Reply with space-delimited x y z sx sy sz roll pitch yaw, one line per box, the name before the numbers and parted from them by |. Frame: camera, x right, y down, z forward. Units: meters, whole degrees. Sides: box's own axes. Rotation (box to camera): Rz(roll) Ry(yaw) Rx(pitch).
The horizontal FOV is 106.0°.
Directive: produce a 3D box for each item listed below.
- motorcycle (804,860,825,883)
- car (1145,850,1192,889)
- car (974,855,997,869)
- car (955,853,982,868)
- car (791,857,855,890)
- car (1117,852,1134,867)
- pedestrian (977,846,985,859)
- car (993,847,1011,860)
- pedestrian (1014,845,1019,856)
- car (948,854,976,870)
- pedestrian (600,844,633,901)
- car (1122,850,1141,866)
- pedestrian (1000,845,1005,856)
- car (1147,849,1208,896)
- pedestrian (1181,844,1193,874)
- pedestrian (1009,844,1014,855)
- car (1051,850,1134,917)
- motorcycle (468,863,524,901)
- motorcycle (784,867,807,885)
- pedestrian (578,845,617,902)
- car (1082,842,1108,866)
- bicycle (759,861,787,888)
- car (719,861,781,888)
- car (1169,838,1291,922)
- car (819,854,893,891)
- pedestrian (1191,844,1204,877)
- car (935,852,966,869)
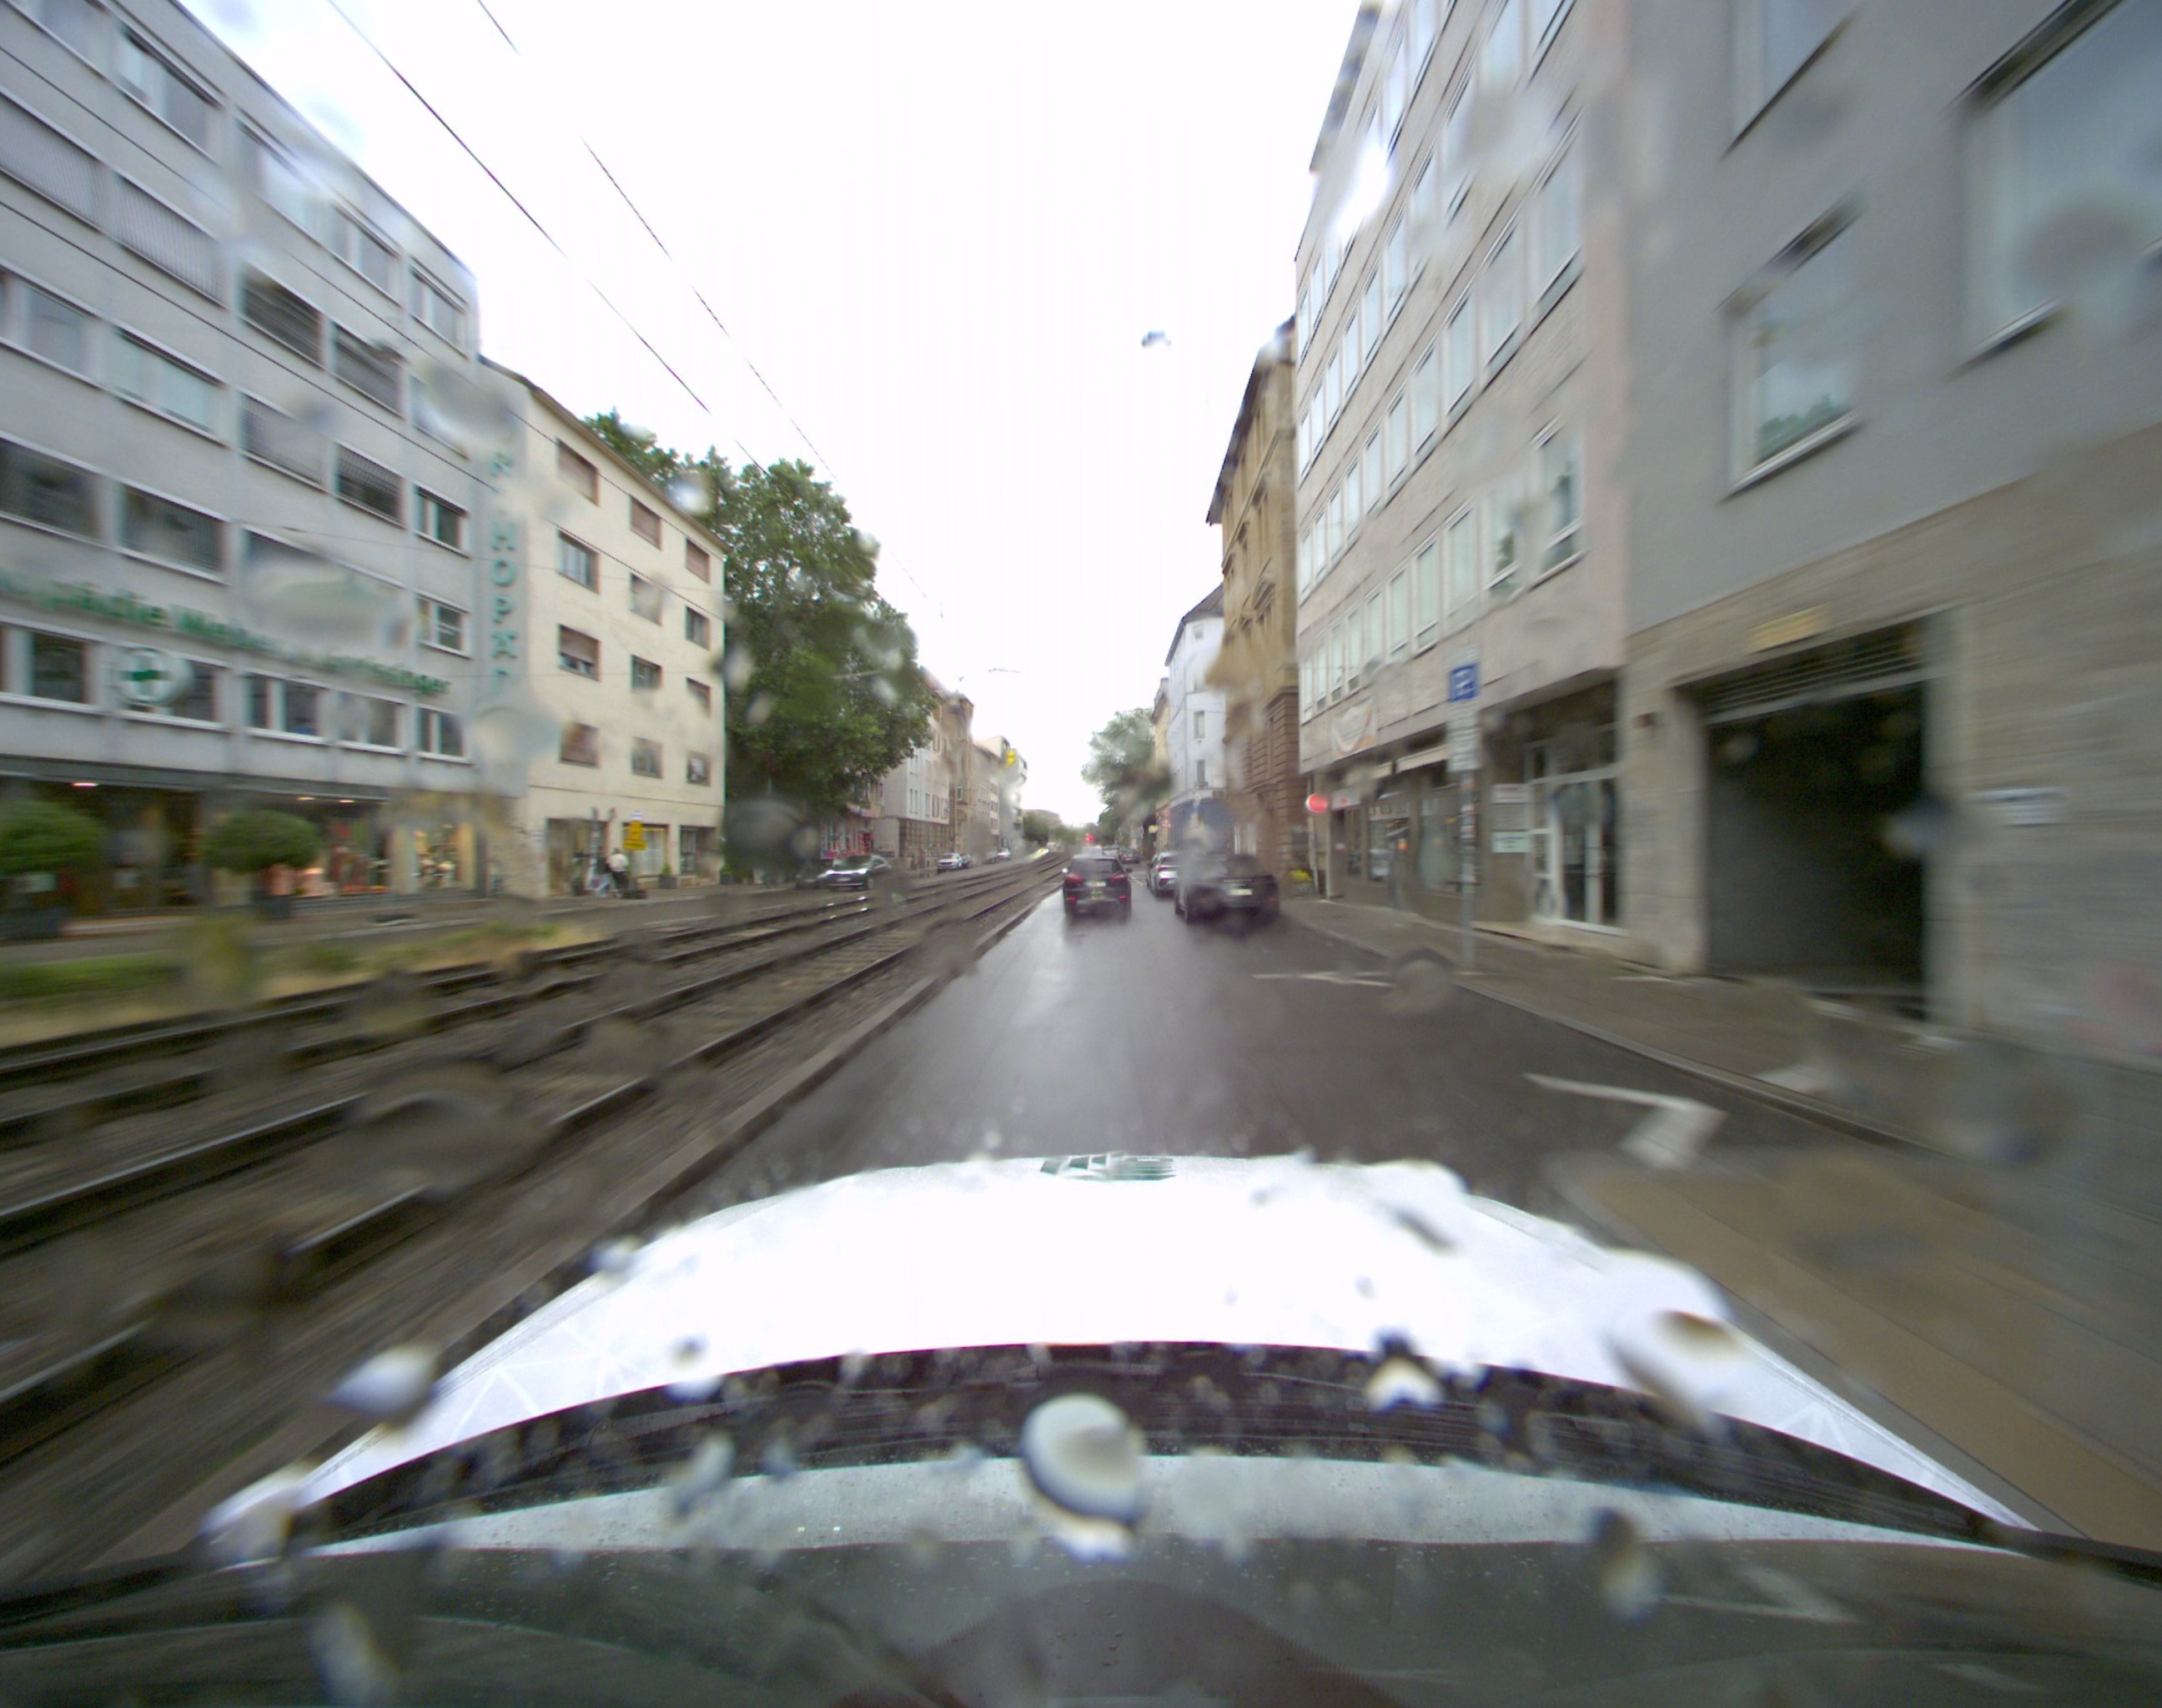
motorcycle | -16.828 1.081 51.384 0.637 1.379 2.119 0 0 0
car | 3.608 0.604 34.159 1.714 1.516 4.261 -1 1 2
car | -11.162 0.900 95.154 1.986 1.519 4.677 0 0 1
car | -11.623 0.693 84.571 1.986 1.519 4.993 0 0 1
car | -12.778 0.925 40.616 1.737 1.469 4.221 -2 0 1
car | 4.713 0.535 86.068 1.637 1.516 4.039 -1 0 0
pedestrian | -13.394 -0.185 109.085 0.799 1.750 0.984 0 0 0
car | -10.880 -0.080 112.937 1.987 1.839 5.070 0 0 0
pedestrian | -11.571 -0.656 146.240 0.742 1.853 0.839 -1 -2 0
car | -11.589 0.757 79.725 1.986 1.519 4.210 0 0 1
pedestrian | -15.782 0.630 27.684 0.676 1.896 0.743 0 -1 1
car | 5.023 0.410 81.224 1.733 1.489 4.000 -1 0 0
pedestrian | -13.464 -0.642 139.974 0.742 1.853 0.839 -1 -2 0
car | 3.395 0.612 29.362 1.740 1.523 4.356 -1 1 1
pedestrian | 6.563 0.315 50.406 0.659 1.852 0.821 -1 0 0
pedestrian | -11.975 -0.741 140.022 0.742 1.853 0.839 -1 -2 0
car | 0.352 0.747 21.824 1.986 1.594 4.273 -1 -1 2
motorcycle | -18.424 0.881 25.650 1.472 1.180 0.386 0 0 -1
motorcycle | -17.079 1.314 48.711 0.637 1.033 2.119 0 0 0
pedestrian | -16.546 0.666 27.887 0.724 1.896 0.983 0 -1 1
car | 1.145 0.045 66.102 1.986 1.816 4.273 -1 -1 2
bicycle | -14.275 0.930 37.798 0.590 1.226 2.399 0 -1 -6
car | -19.744 1.203 48.791 1.987 1.454 4.000 -1 0 0
car | 3.139 0.538 18.138 1.986 1.594 4.573 -1 -1 2
car | -9.883 0.786 36.133 1.986 1.519 4.445 0 0 1
pedestrian | 7.211 0.379 50.417 0.733 2.013 0.821 -1 0 0
car | -11.783 0.577 73.723 1.986 1.519 4.436 0 0 1
